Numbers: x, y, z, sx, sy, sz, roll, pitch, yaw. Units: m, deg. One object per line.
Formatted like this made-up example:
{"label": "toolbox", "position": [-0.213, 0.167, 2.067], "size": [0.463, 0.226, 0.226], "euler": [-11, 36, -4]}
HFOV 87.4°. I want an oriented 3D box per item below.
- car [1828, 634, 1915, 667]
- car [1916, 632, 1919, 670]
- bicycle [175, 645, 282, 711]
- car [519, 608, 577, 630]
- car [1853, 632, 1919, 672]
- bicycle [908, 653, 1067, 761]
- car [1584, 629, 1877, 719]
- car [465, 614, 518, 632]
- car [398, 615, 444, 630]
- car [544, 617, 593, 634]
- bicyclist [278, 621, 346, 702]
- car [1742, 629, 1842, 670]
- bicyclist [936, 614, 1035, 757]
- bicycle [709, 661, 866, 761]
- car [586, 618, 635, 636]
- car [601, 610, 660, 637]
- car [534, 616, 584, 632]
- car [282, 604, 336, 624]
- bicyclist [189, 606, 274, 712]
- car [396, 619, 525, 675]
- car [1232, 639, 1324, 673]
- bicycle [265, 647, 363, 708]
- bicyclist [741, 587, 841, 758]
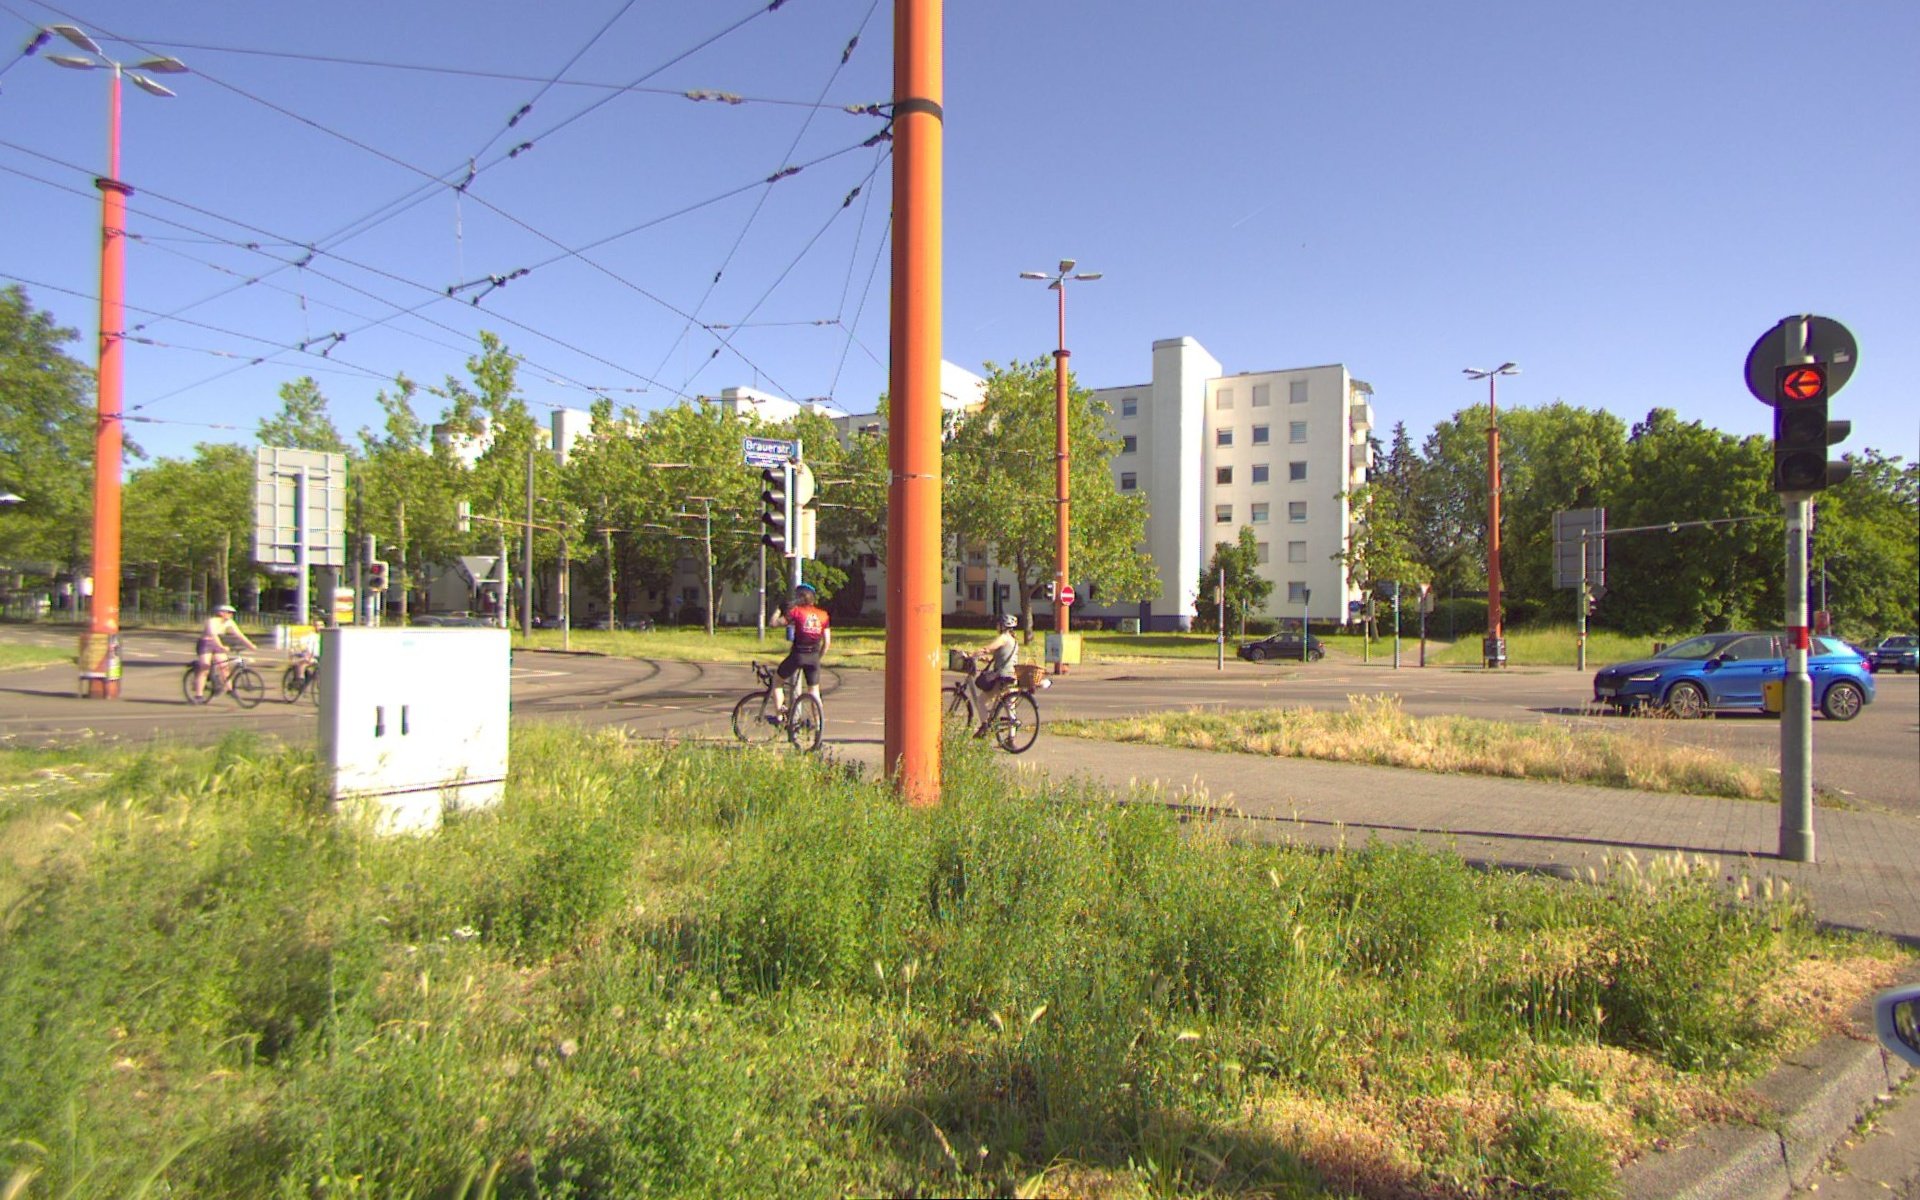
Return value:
{"label": "car", "position": [43.132, 2.378, 47.530], "size": [3.952, 1.533, 1.877], "euler": [1, -2, -29]}
{"label": "car", "position": [42.603, 2.173, 42.714], "size": [3.955, 1.575, 1.891], "euler": [2, -2, -32]}
{"label": "bicycle", "position": [-13.645, 1.437, 18.733], "size": [1.877, 1.086, 0.580], "euler": [2, 0, 17]}
{"label": "car", "position": [-32.553, 1.507, 79.432], "size": [3.868, 1.614, 1.656], "euler": [2, 0, -8]}
{"label": "car", "position": [37.293, 2.043, 39.763], "size": [3.813, 1.535, 1.793], "euler": [1, -3, -30]}
{"label": "bicycle", "position": [0.311, 1.250, 12.185], "size": [1.887, 1.146, 0.737], "euler": [0, -1, 41]}
{"label": "car", "position": [13.219, 1.244, 17.405], "size": [3.831, 1.439, 1.579], "euler": [1, -1, 2]}
{"label": "car", "position": [-38.845, 1.918, 83.388], "size": [3.665, 1.349, 1.496], "euler": [2, 0, -8]}
{"label": "car", "position": [-46.631, 1.925, 86.954], "size": [3.370, 1.204, 1.439], "euler": [2, 0, -23]}
{"label": "car", "position": [-29.333, 1.890, 75.339], "size": [3.219, 1.172, 1.357], "euler": [2, 0, -12]}
{"label": "bicyclist", "position": [-12.900, 1.200, 20.004], "size": [0.906, 1.545, 0.720], "euler": [2, 0, 20]}
{"label": "car", "position": [35.362, 2.114, 42.685], "size": [4.168, 1.673, 1.869], "euler": [2, -3, -29]}
{"label": "bicyclist", "position": [0.311, 1.000, 12.227], "size": [0.815, 1.643, 0.888], "euler": [0, -1, 41]}
{"label": "bicycle", "position": [-2.079, 1.283, 12.003], "size": [1.883, 1.085, 0.690], "euler": [-2, -2, 33]}
{"label": "car", "position": [-25.836, 1.996, 74.312], "size": [3.279, 1.149, 1.321], "euler": [2, 0, -11]}
{"label": "car", "position": [-23.671, 1.702, 72.296], "size": [3.874, 1.841, 1.651], "euler": [2, 0, -13]}
{"label": "car", "position": [-30.901, 1.857, 77.436], "size": [3.346, 1.162, 1.305], "euler": [2, 0, -13]}
{"label": "car", "position": [-66.306, 1.464, 102.357], "size": [4.274, 2.010, 1.932], "euler": [1, -1, -19]}
{"label": "bicyclist", "position": [-13.602, 1.080, 18.775], "size": [0.905, 1.892, 0.893], "euler": [2, 0, 17]}
{"label": "car", "position": [-15.653, 1.411, 31.433], "size": [3.977, 1.516, 1.913], "euler": [2, 0, 34]}
{"label": "car", "position": [14.963, 2.631, 47.438], "size": [3.870, 1.522, 1.840], "euler": [0, -2, 6]}
{"label": "bicycle", "position": [-12.861, 1.533, 19.996], "size": [1.878, 1.086, 0.580], "euler": [2, 0, 19]}
{"label": "bicyclist", "position": [-2.013, 0.840, 11.962], "size": [0.974, 1.938, 0.685], "euler": [-1, -2, 33]}
